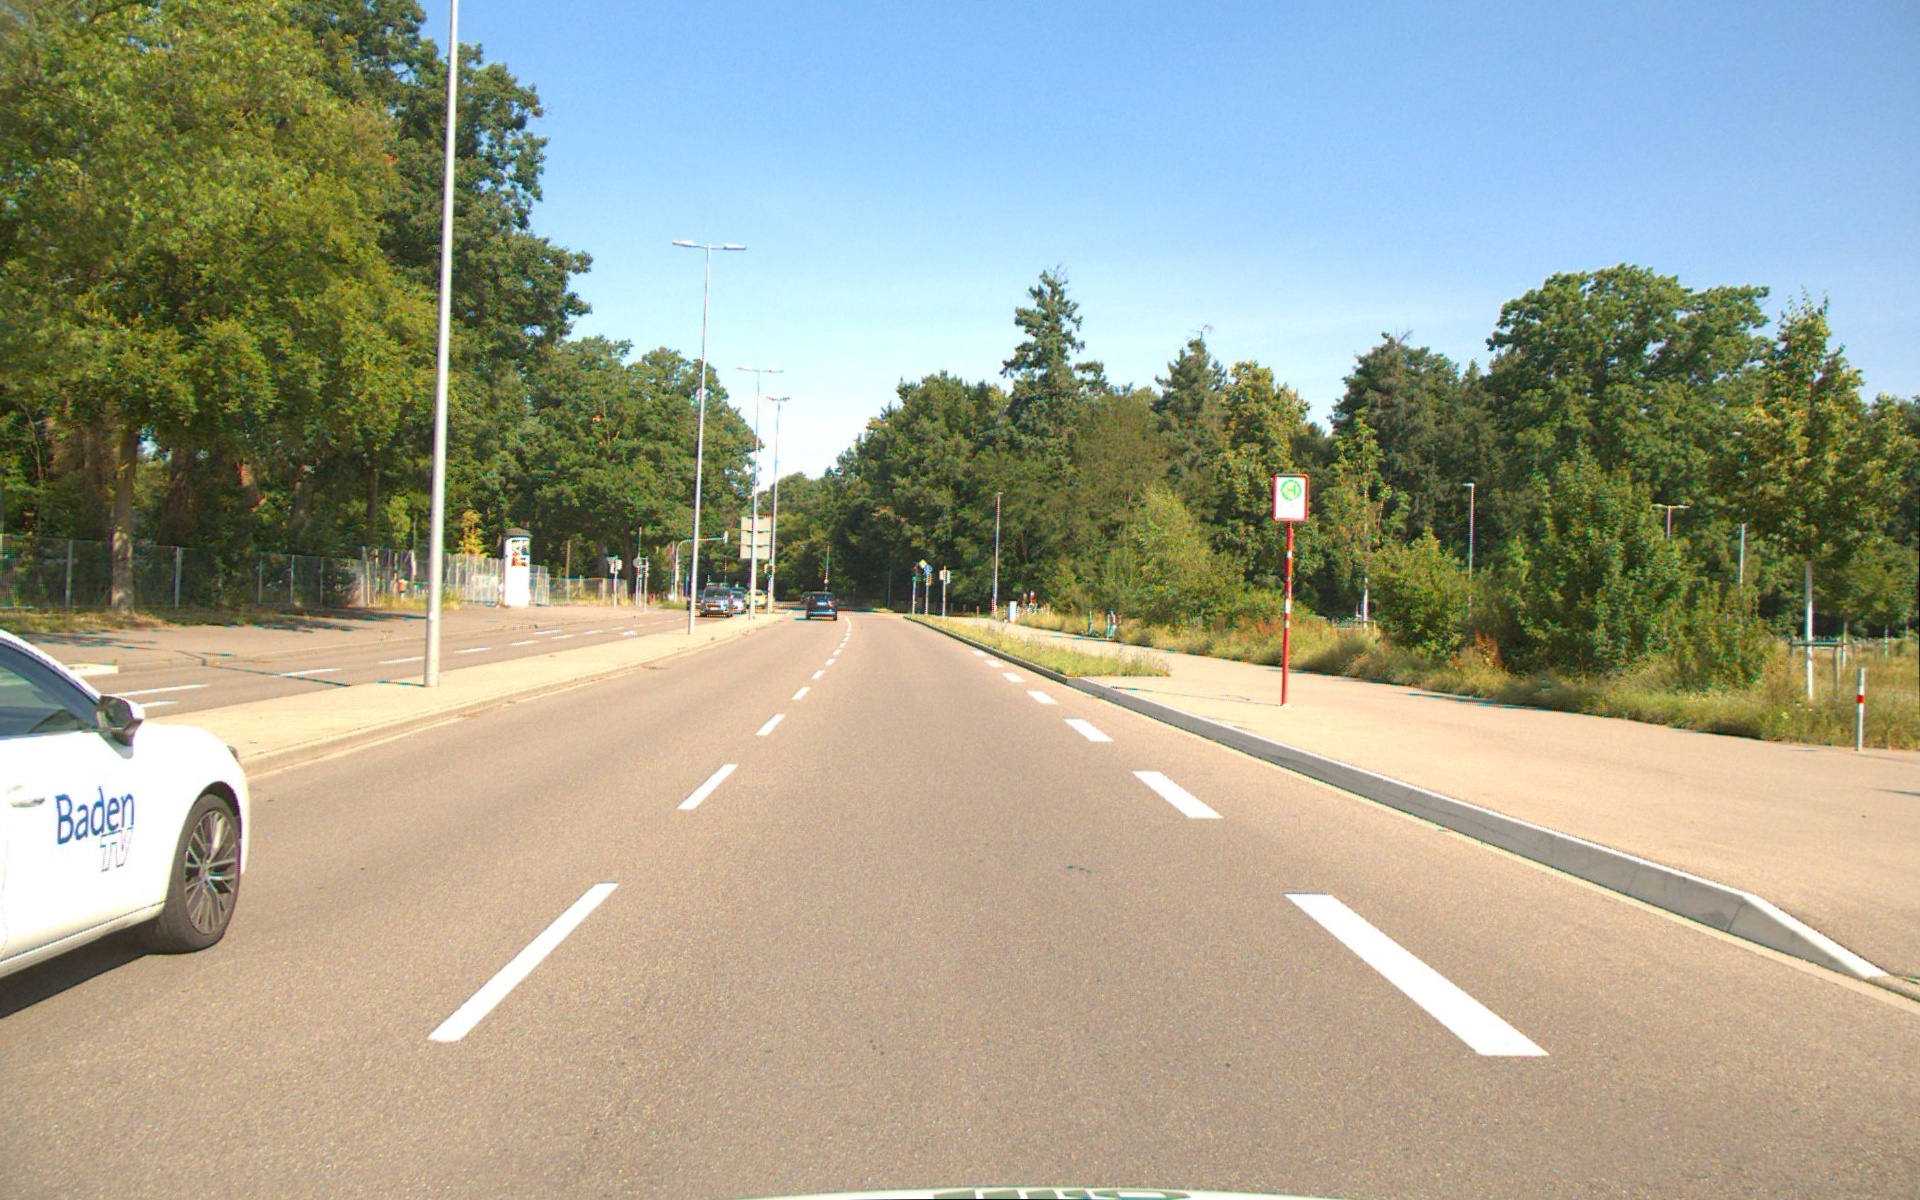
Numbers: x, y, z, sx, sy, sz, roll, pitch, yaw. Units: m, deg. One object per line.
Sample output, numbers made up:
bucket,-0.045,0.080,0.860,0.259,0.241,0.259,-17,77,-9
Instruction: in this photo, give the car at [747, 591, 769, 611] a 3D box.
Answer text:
car,-18.061,0.103,147.774,1.810,1.646,3.995,3,0,-6

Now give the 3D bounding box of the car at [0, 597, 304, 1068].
car,-3.863,0.736,5.287,1.690,1.451,4.719,1,0,-1

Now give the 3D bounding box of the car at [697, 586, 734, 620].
car,-14.361,0.169,97.242,1.805,1.966,4.625,1,0,-5

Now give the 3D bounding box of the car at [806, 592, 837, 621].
car,-7.858,0.350,93.827,1.654,1.571,4.145,1,0,-4

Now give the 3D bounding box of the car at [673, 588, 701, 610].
car,-20.251,-0.072,122.657,1.759,1.504,3.995,2,0,-6

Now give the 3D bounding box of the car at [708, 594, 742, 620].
car,-15.754,0.442,111.062,1.871,1.612,3.997,2,0,-4

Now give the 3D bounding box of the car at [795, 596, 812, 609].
car,-18.903,0.336,199.135,1.904,1.445,4.287,2,0,-7
